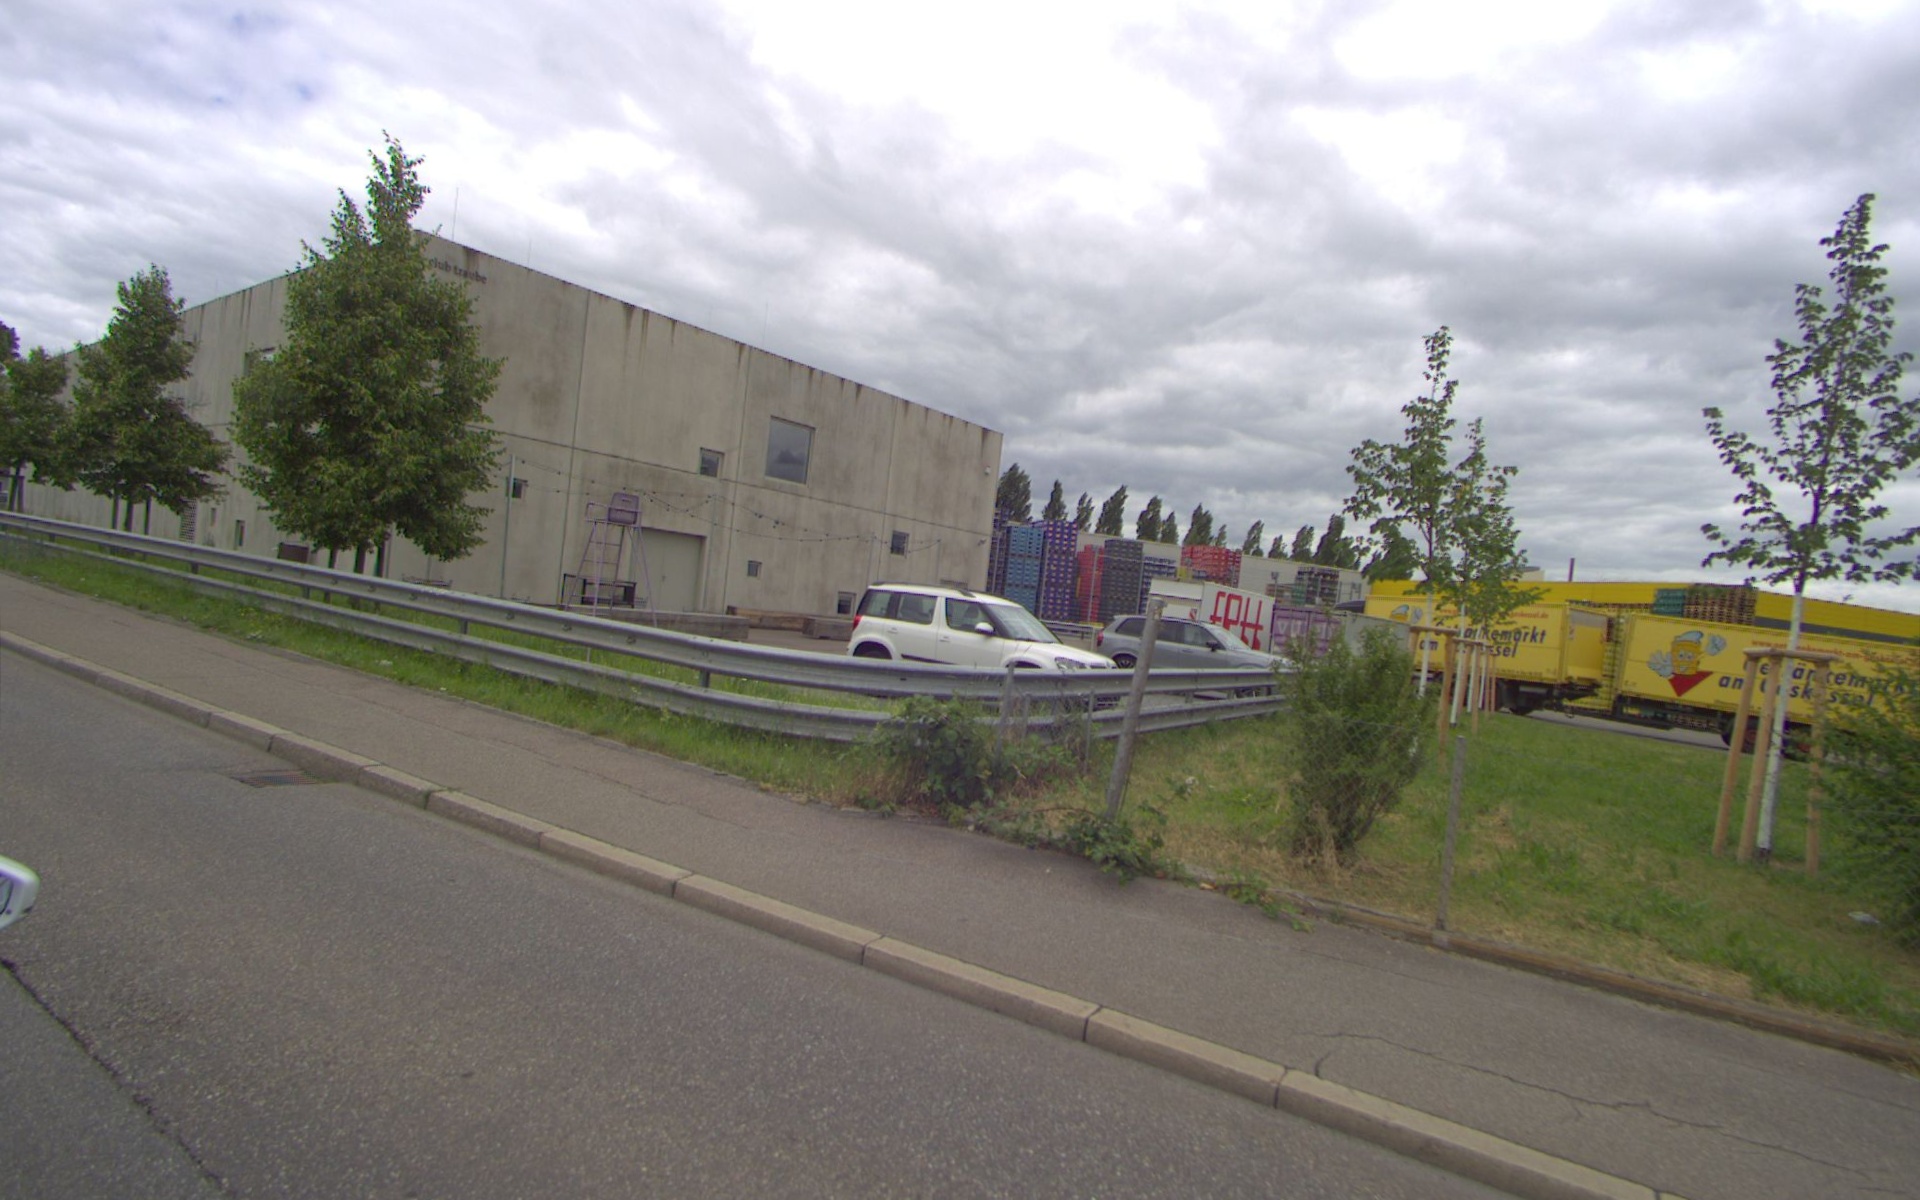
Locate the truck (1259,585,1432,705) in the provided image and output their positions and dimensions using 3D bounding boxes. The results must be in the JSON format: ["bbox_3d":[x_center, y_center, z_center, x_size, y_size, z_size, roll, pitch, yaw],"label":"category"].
[{"bbox_3d":[13.055,1.624,33.581,2.588,3.070,7.741,5,-4,42],"label":"truck"}]

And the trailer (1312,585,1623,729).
[{"bbox_3d":[18.187,1.851,37.166,2.887,4.013,9.943,6,1,-30],"label":"trailer"}]

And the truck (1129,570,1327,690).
[{"bbox_3d":[9.300,1.124,34.291,7.721,3.070,2.325,10,-3,-41],"label":"truck"}]

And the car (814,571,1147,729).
[{"bbox_3d":[0.216,0.679,14.415,4.358,1.592,1.752,7,-1,34],"label":"car"}]

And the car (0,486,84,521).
[{"bbox_3d":[-56.482,-5.886,61.010,2.120,1.567,4.520,5,0,19],"label":"car"}]

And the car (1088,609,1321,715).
[{"bbox_3d":[5.479,1.365,22.796,4.616,1.741,1.911,7,0,36],"label":"car"}]

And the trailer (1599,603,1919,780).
[{"bbox_3d":[25.112,2.721,31.048,8.550,4.124,2.942,8,1,31],"label":"trailer"}]
